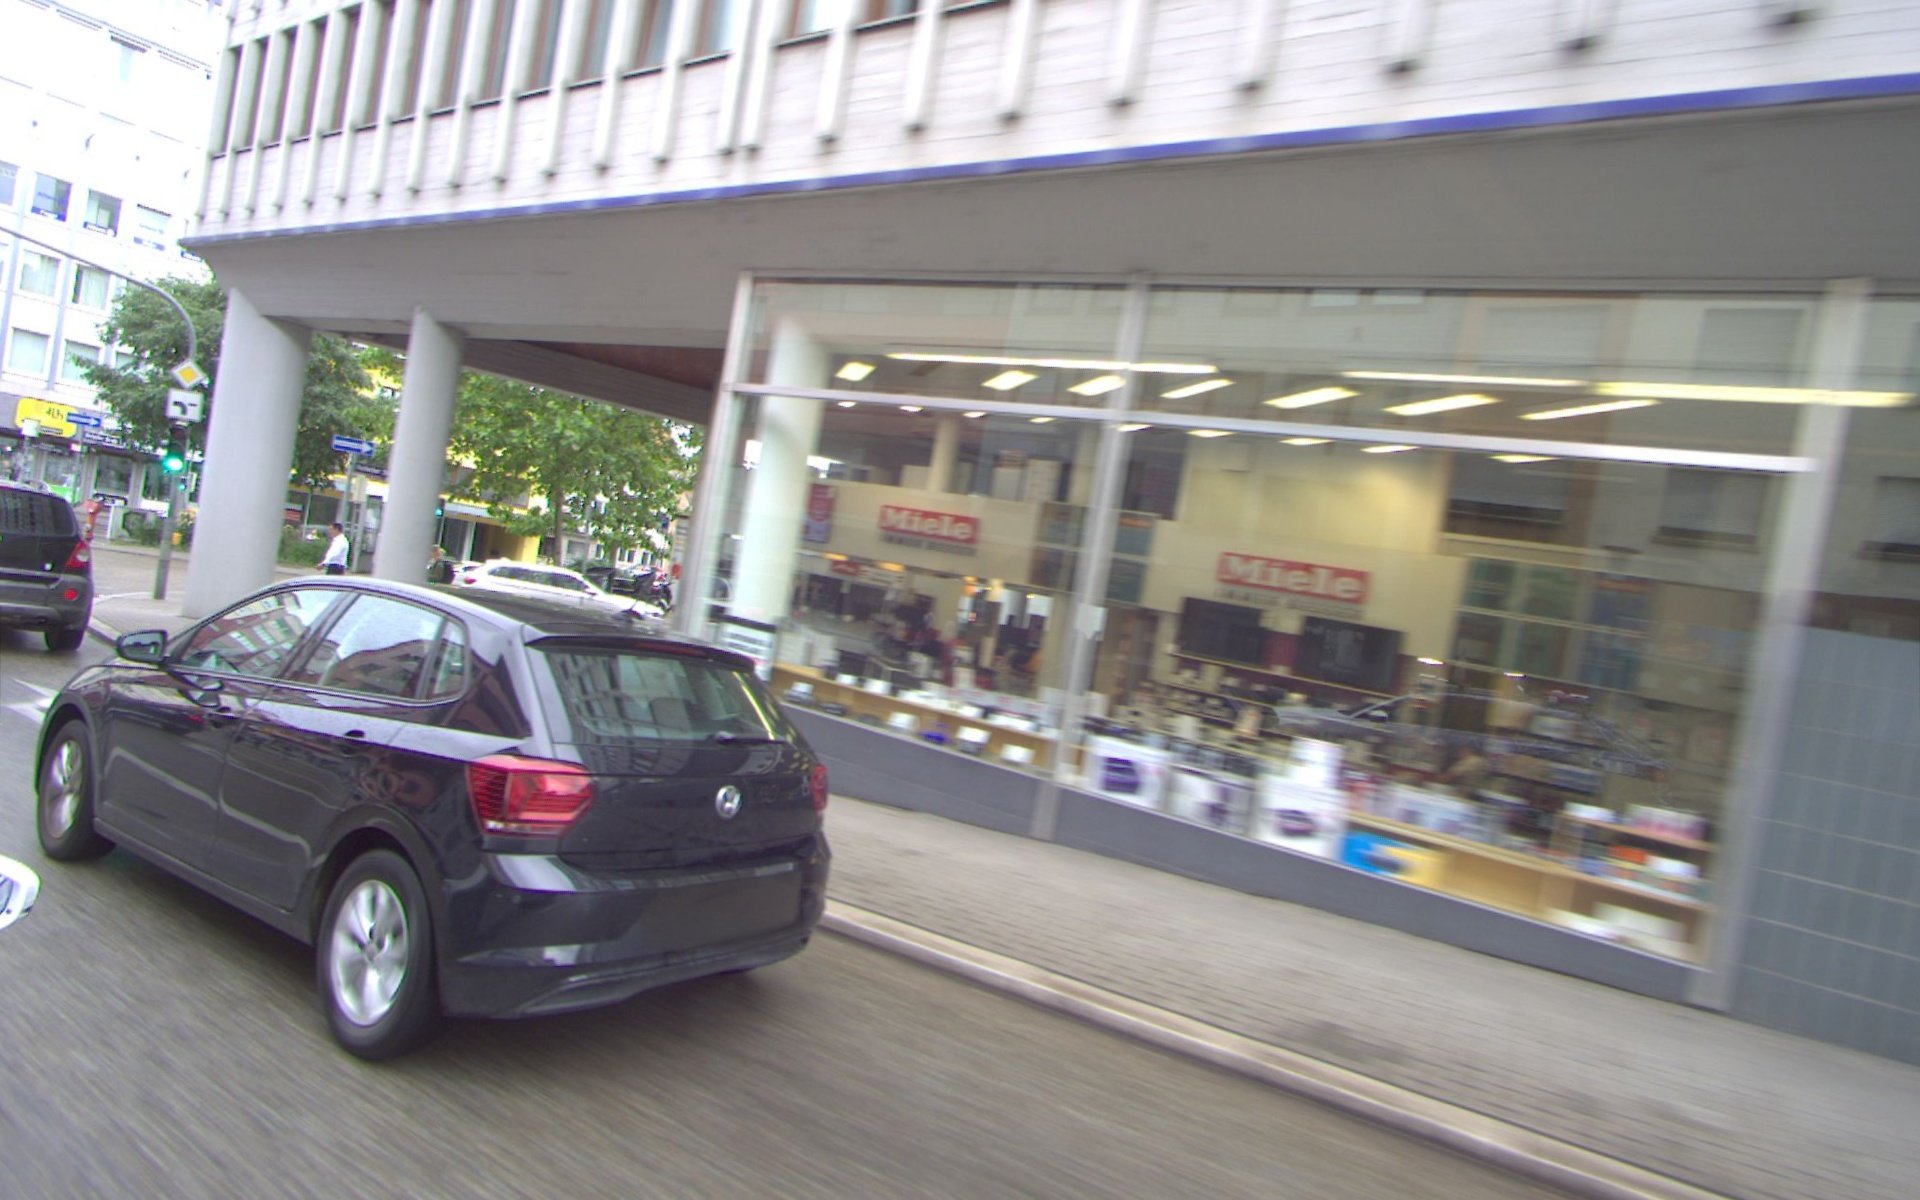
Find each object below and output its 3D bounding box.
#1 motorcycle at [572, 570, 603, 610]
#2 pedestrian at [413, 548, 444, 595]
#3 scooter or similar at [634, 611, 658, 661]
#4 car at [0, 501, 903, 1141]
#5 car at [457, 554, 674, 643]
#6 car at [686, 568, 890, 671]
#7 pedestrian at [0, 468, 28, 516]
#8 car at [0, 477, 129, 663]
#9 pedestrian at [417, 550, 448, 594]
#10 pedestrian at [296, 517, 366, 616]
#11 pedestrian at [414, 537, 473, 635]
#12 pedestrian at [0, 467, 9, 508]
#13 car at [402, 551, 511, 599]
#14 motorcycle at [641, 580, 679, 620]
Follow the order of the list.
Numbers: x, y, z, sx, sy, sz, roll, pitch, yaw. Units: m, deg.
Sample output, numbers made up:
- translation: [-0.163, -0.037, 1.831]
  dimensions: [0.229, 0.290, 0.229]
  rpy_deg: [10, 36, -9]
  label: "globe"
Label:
- translation: [-12.472, -0.353, 33.754]
  dimensions: [0.619, 1.131, 1.933]
  rpy_deg: [8, 3, -14]
  label: "motorcycle"
- translation: [-22.095, -1.179, 41.839]
  dimensions: [0.671, 1.845, 0.712]
  rpy_deg: [2, -7, 45]
  label: "pedestrian"
- translation: [-5.812, 0.653, 18.658]
  dimensions: [0.303, 0.834, 1.122]
  rpy_deg: [7, 0, -16]
  label: "scooter or similar"
- translation: [-2.432, 0.598, 4.429]
  dimensions: [3.934, 1.492, 1.694]
  rpy_deg: [7, -4, 32]
  label: "car"
- translation: [-9.785, -0.026, 25.365]
  dimensions: [4.781, 1.512, 1.850]
  rpy_deg: [8, -1, -17]
  label: "car"
- translation: [-4.477, 0.515, 26.276]
  dimensions: [4.745, 2.021, 1.950]
  rpy_deg: [8, -1, -24]
  label: "car"
- translation: [-40.950, -4.655, 43.263]
  dimensions: [0.818, 1.822, 1.029]
  rpy_deg: [15, 5, 40]
  label: "pedestrian"
- translation: [-11.012, -0.521, 10.942]
  dimensions: [4.436, 1.714, 1.900]
  rpy_deg: [7, -3, 37]
  label: "car"
- translation: [-21.604, -1.133, 41.200]
  dimensions: [0.671, 1.693, 0.712]
  rpy_deg: [2, -7, 45]
  label: "pedestrian"
- translation: [-12.356, -0.653, 19.780]
  dimensions: [0.815, 1.841, 0.723]
  rpy_deg: [6, 1, 25]
  label: "pedestrian"
- translation: [-9.545, -0.260, 18.596]
  dimensions: [0.717, 1.711, 0.821]
  rpy_deg: [5, 1, -37]
  label: "pedestrian"
- translation: [-42.152, -4.968, 43.655]
  dimensions: [0.818, 1.710, 1.029]
  rpy_deg: [15, 5, 40]
  label: "pedestrian"
- translation: [-24.100, -1.188, 48.231]
  dimensions: [4.180, 1.430, 1.805]
  rpy_deg: [11, 2, -44]
  label: "car"
- translation: [-10.028, -0.006, 33.707]
  dimensions: [0.618, 1.132, 2.087]
  rpy_deg: [8, 3, -3]
  label: "motorcycle"
